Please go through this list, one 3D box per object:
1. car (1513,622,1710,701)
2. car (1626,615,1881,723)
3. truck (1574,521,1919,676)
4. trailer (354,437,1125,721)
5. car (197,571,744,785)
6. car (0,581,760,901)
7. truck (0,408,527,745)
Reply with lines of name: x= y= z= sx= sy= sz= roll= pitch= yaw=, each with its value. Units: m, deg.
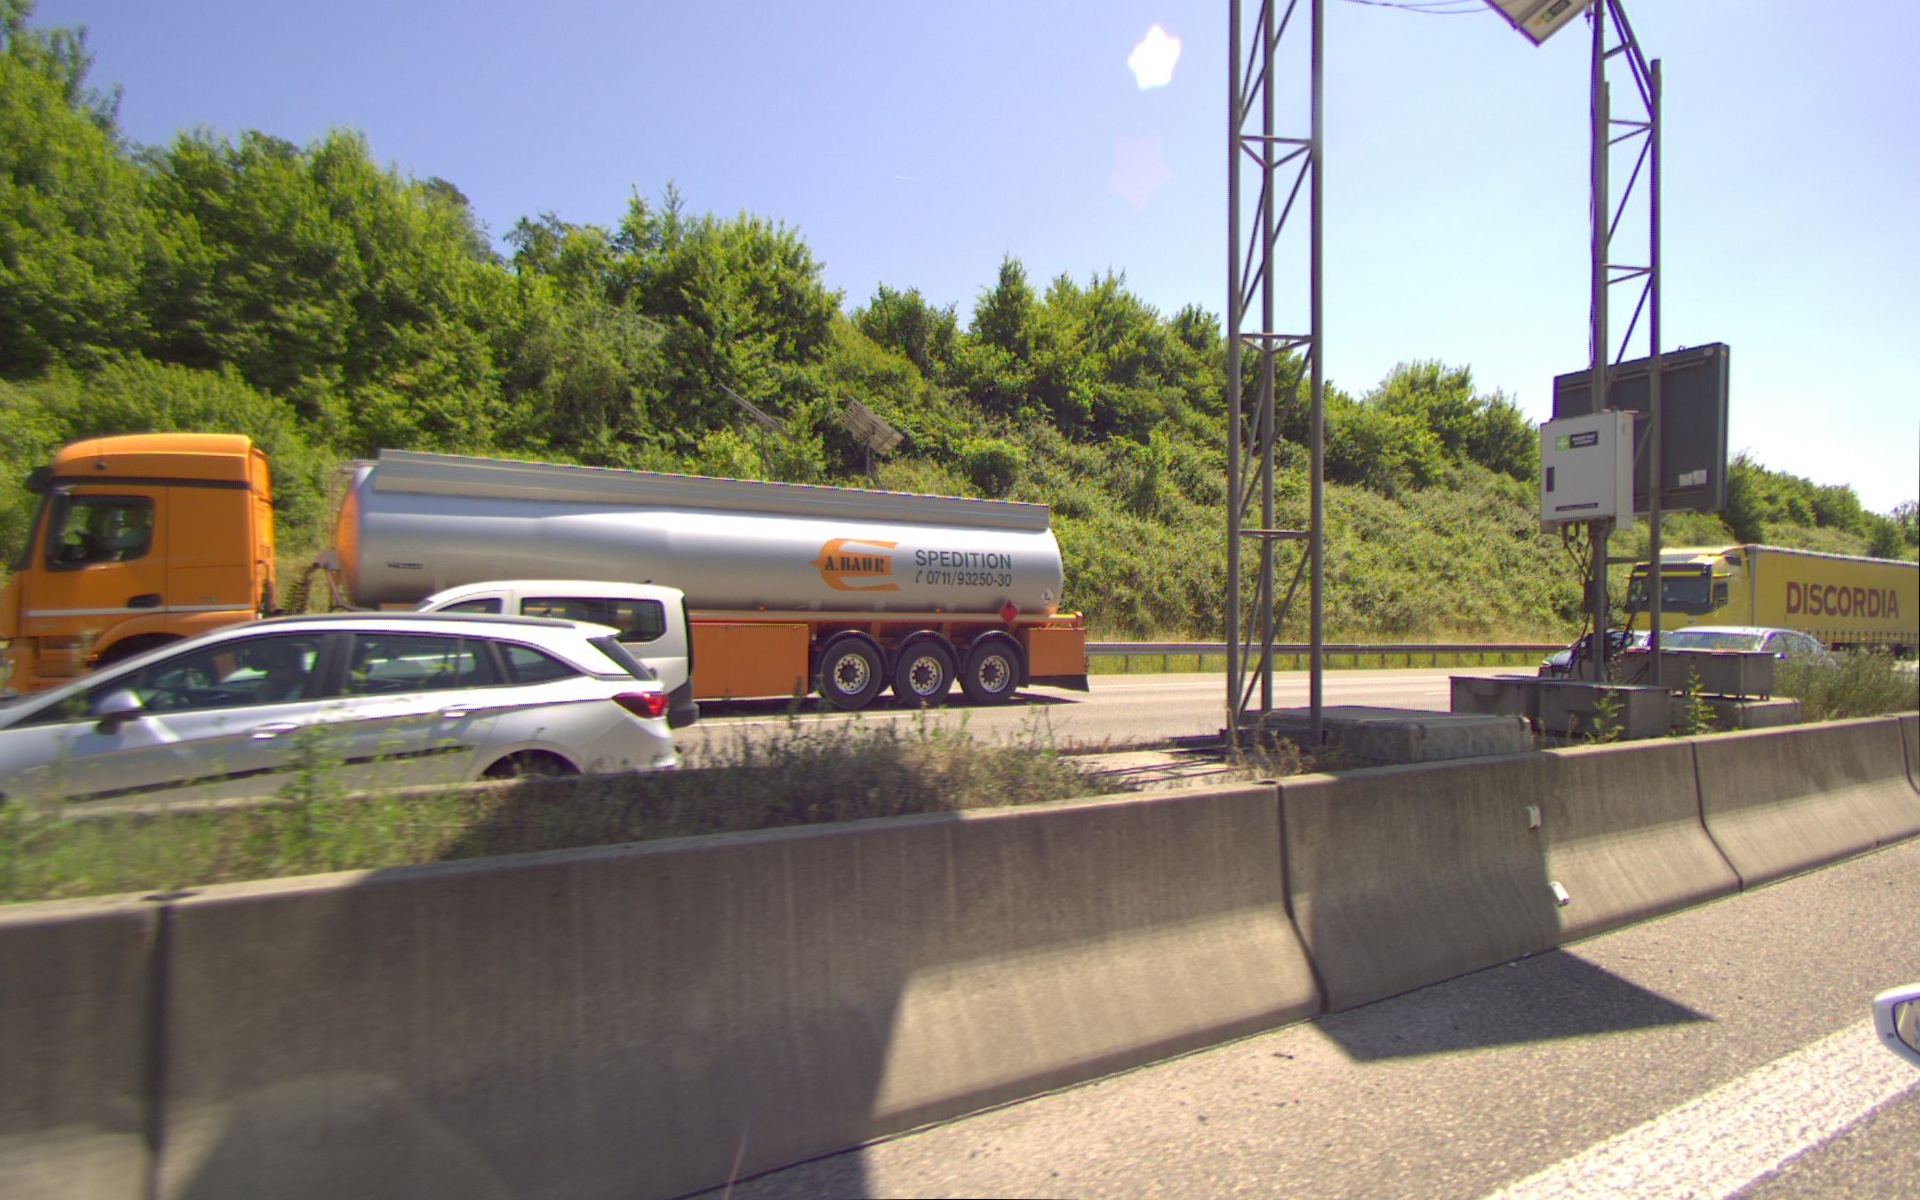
car: x=14.386 y=1.322 z=22.103 sx=4.707 sy=1.517 sz=1.818 roll=2 pitch=0 yaw=-32
car: x=13.142 y=1.079 z=16.554 sx=4.707 sy=1.517 sz=1.818 roll=2 pitch=0 yaw=-32
truck: x=28.145 y=0.211 z=35.126 sx=17.178 sy=4.515 sz=3.678 roll=2 pitch=0 yaw=-30
trailer: x=-2.737 y=-0.077 z=15.872 sx=11.560 sy=3.338 sz=2.565 roll=2 pitch=0 yaw=-31
car: x=-4.821 y=0.714 z=10.417 sx=4.707 sy=1.786 sz=1.818 roll=2 pitch=0 yaw=-32
car: x=-3.825 y=0.707 z=6.291 sx=4.707 sy=1.517 sz=1.818 roll=2 pitch=0 yaw=-32
truck: x=-8.345 y=-0.212 z=12.495 sx=5.128 sy=3.410 sz=2.480 roll=1 pitch=0 yaw=-32
